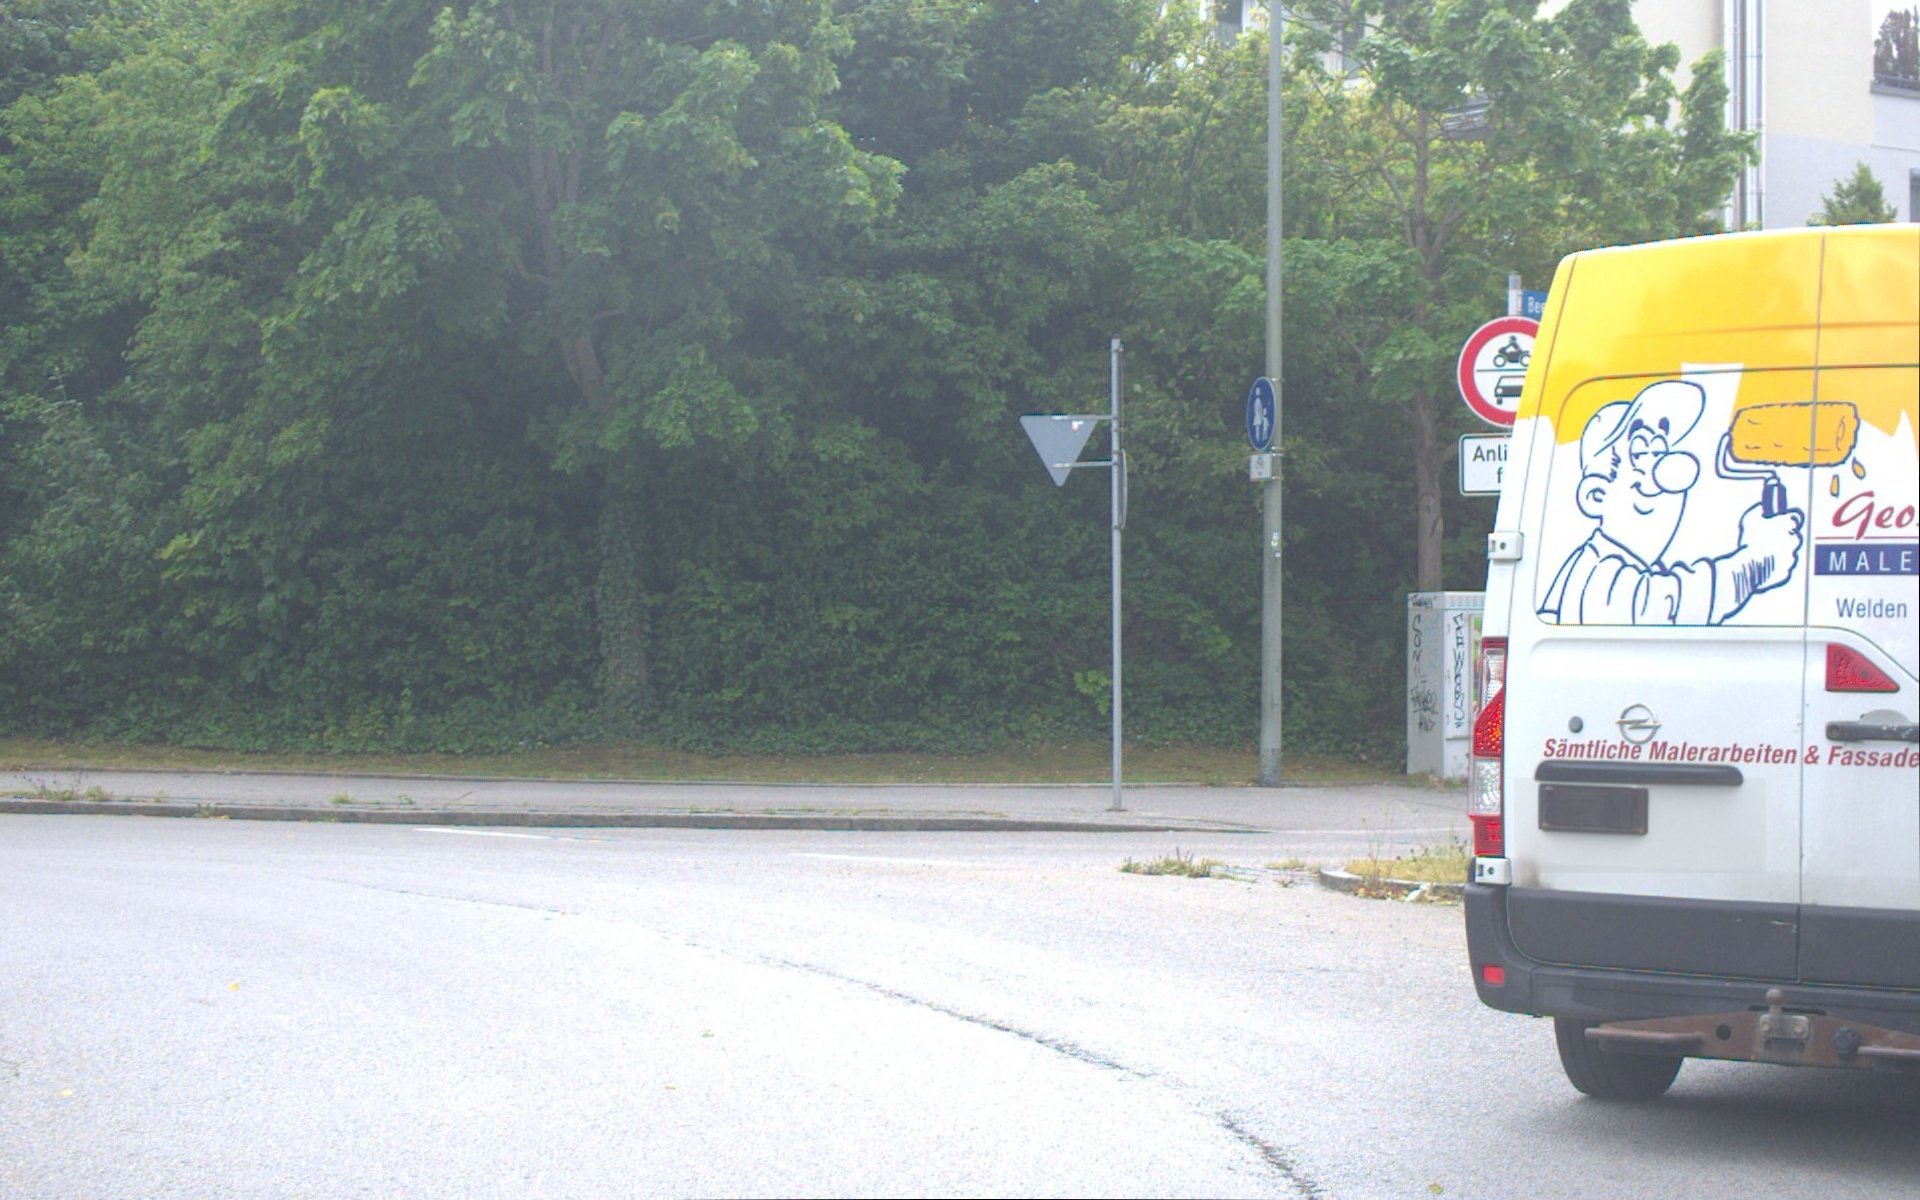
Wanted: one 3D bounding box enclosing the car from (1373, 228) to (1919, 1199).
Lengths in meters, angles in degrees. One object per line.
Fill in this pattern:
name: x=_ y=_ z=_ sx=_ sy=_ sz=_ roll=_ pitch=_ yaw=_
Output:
car: x=3.538 y=0.337 z=11.106 sx=2.166 sy=2.444 sz=5.431 roll=2 pitch=0 yaw=33
